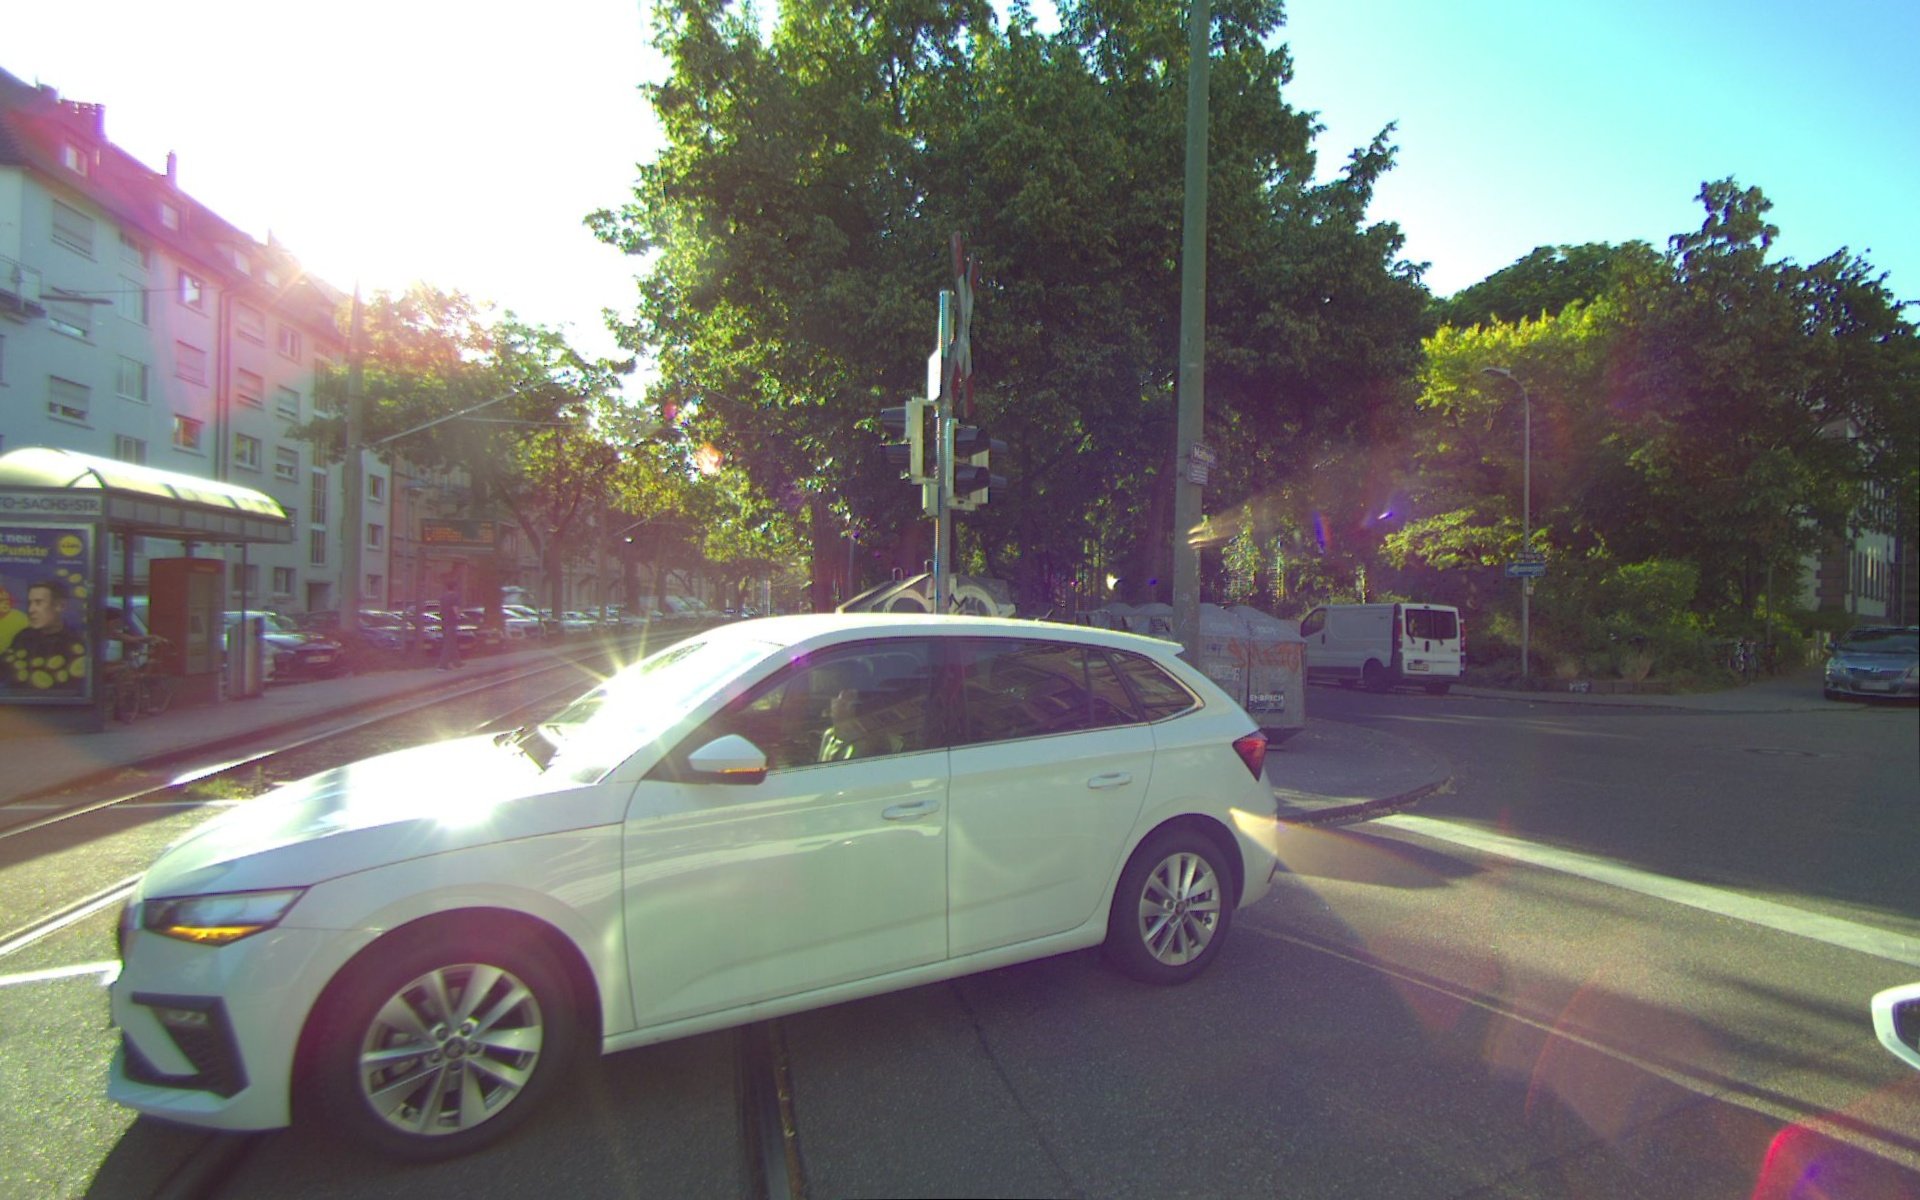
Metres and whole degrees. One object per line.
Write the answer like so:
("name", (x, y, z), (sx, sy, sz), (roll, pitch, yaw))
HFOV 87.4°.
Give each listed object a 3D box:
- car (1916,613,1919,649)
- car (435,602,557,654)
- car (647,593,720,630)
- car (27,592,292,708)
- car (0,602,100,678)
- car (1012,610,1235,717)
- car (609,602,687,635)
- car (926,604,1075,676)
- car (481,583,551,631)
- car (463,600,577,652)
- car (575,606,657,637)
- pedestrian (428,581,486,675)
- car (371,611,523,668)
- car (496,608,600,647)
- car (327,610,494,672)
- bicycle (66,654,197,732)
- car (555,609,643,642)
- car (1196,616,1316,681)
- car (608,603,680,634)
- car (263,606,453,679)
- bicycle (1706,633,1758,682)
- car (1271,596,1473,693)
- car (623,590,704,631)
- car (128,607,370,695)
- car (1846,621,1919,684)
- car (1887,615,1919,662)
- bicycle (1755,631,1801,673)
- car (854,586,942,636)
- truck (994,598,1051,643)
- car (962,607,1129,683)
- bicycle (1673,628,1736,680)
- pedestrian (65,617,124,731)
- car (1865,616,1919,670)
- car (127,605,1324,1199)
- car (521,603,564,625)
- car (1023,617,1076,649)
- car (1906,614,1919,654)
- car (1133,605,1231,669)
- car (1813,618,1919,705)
("car", (42.405, 1.361, 42.971), (3.902, 1.520, 1.809), (1, 3, -42))
("car", (-17.037, 1.028, 36.852), (4.165, 1.673, 1.855), (-3, 0, 28))
("car", (-22.230, 0.914, 80.837), (5.167, 2.606, 2.273), (-3, 0, 20))
("car", (-13.391, 0.839, 16.793), (4.161, 1.674, 1.606), (-3, 0, 23))
("car", (-22.499, 0.898, 23.577), (1.685, 1.695, 3.992), (-1, 0, -10))
("car", (2.908, 1.055, 17.684), (3.661, 1.541, 1.608), (3, 0, 15))
("car", (-18.995, 1.109, 61.181), (4.159, 1.721, 1.857), (-3, 0, 20))
("car", (1.074, 0.997, 26.083), (3.546, 1.583, 1.608), (3, 0, 16))
("car", (-28.585, 0.433, 64.922), (2.512, 2.926, 5.476), (-1, 0, -5))
("car", (-17.302, 1.019, 39.443), (4.165, 1.772, 1.855), (-3, 0, 28))
("car", (-19.565, 1.237, 57.142), (4.159, 1.492, 1.857), (-3, 0, 20))
("pedestrian", (-10.630, 0.585, 21.255), (0.835, 1.936, 0.837), (0, 0, -7))
("car", (-15.841, 1.205, 31.058), (4.157, 1.478, 1.608), (-3, 0, 16))
("car", (-18.807, 1.253, 45.890), (4.159, 1.492, 1.857), (-3, 0, 20))
("car", (-15.577, 1.158, 28.505), (4.157, 1.478, 1.608), (-3, 0, 16))
("bicycle", (-9.874, 1.081, 12.039), (0.442, 0.794, 1.640), (1, 0, -10))
("car", (-19.541, 1.368, 54.389), (4.159, 1.492, 1.857), (-3, 0, 20))
("car", (8.181, 1.294, 28.073), (1.550, 1.659, 3.701), (0, 0, -15))
("car", (-20.772, 1.218, 66.062), (4.159, 1.721, 1.857), (-3, 0, 20))
("car", (-15.045, 1.054, 25.136), (4.157, 1.528, 1.608), (-3, 0, 16))
("bicycle", (19.062, 1.382, 24.773), (2.608, 1.116, 0.591), (1, 0, -43))
("car", (9.451, 0.942, 23.503), (1.918, 2.030, 4.643), (0, 0, -16))
("car", (-21.323, 0.743, 72.217), (5.167, 2.606, 2.273), (-3, 0, 20))
("car", (-14.167, 1.010, 20.051), (4.123, 1.456, 1.701), (-3, 0, 17))
("car", (25.193, 1.370, 26.828), (3.902, 1.466, 1.809), (1, 3, -42))
("car", (33.795, 1.343, 34.963), (3.902, 1.520, 1.809), (1, 3, -42))
("bicycle", (23.790, 1.488, 29.189), (2.607, 1.116, 0.591), (1, 0, -41))
("car", (-3.440, 0.625, 55.851), (4.413, 2.508, 1.819), (3, -1, 23))
("truck", (3.377, 1.126, 55.493), (2.330, 2.384, 4.378), (0, 0, -8))
("car", (1.987, 0.996, 23.052), (3.546, 1.466, 1.608), (3, 0, 15))
("bicycle", (17.050, 1.203, 22.977), (2.606, 1.116, 0.591), (1, 0, -41))
("pedestrian", (-10.257, 0.861, 11.913), (0.332, 1.319, 0.451), (0, 0, -11))
("car", (29.167, 1.284, 30.680), (3.902, 1.498, 1.809), (1, 3, -42))
("car", (-0.575, 0.765, 4.029), (4.015, 1.476, 1.694), (0, 0, -31))
("car", (-29.449, 0.969, 70.963), (1.684, 1.465, 3.996), (-1, 0, -5))
("car", (4.206, 1.529, 47.683), (1.549, 1.403, 3.592), (0, 0, -12))
("car", (38.560, 1.375, 39.359), (3.902, 1.520, 1.809), (1, 3, -42))
("car", (7.120, 1.141, 32.523), (1.549, 1.929, 3.891), (0, 0, -14))
("car", (20.515, 1.279, 22.283), (4.259, 1.636, 1.809), (1, 3, -42))
